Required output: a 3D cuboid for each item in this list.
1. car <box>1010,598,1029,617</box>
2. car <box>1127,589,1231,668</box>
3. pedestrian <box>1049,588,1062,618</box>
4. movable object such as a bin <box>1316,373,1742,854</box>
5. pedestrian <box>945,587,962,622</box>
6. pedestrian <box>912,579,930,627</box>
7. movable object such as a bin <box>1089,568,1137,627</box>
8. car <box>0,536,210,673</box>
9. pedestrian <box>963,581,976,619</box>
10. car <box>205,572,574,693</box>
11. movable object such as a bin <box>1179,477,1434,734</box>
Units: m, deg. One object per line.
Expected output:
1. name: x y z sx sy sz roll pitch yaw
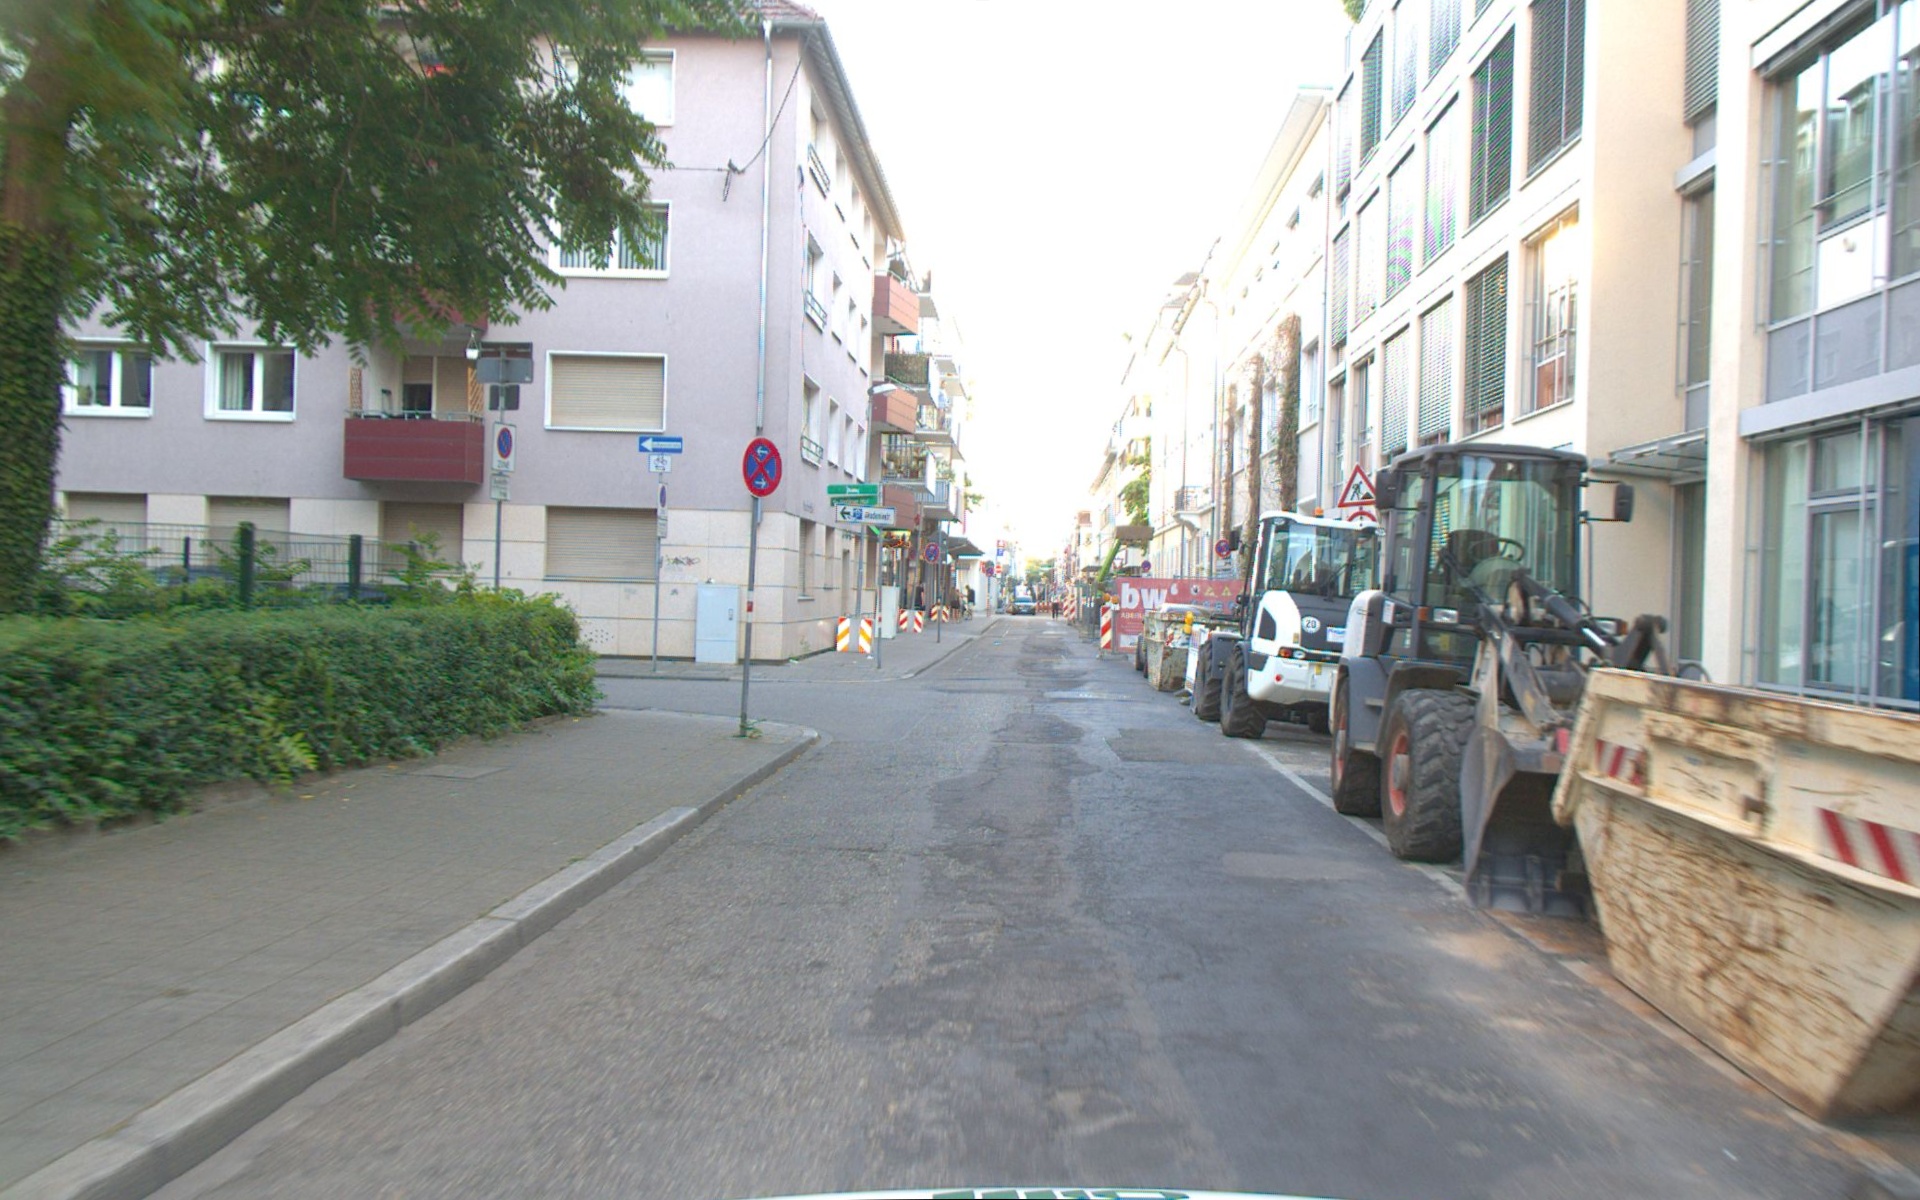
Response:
1. car: 4.526 0.578 125.308 1.443 1.422 3.333 1 0 2
2. car: 4.356 0.529 33.426 1.658 1.430 4.481 2 0 3
3. pedestrian: 5.559 0.166 96.349 0.705 1.770 0.647 1 0 0
4. movable object such as a bin: 3.642 0.057 11.383 1.758 2.680 4.113 1 0 4
5. pedestrian: -0.319 0.196 75.872 0.634 1.592 0.629 1 0 -12
6. pedestrian: -1.525 0.120 64.870 0.616 1.839 0.648 1 0 4
7. movable object such as a bin: 8.635 -0.200 93.789 2.419 3.185 4.299 2 1 3
8. car: -12.364 0.014 21.603 4.278 1.668 1.829 1 1 4
9. pedestrian: 0.501 -0.004 84.863 0.560 1.919 0.656 1 0 8
10. car: -7.446 0.408 21.848 4.255 1.483 1.686 1 0 1
11. movable object such as a bin: 4.006 0.045 20.154 2.121 2.641 5.545 1 0 2
